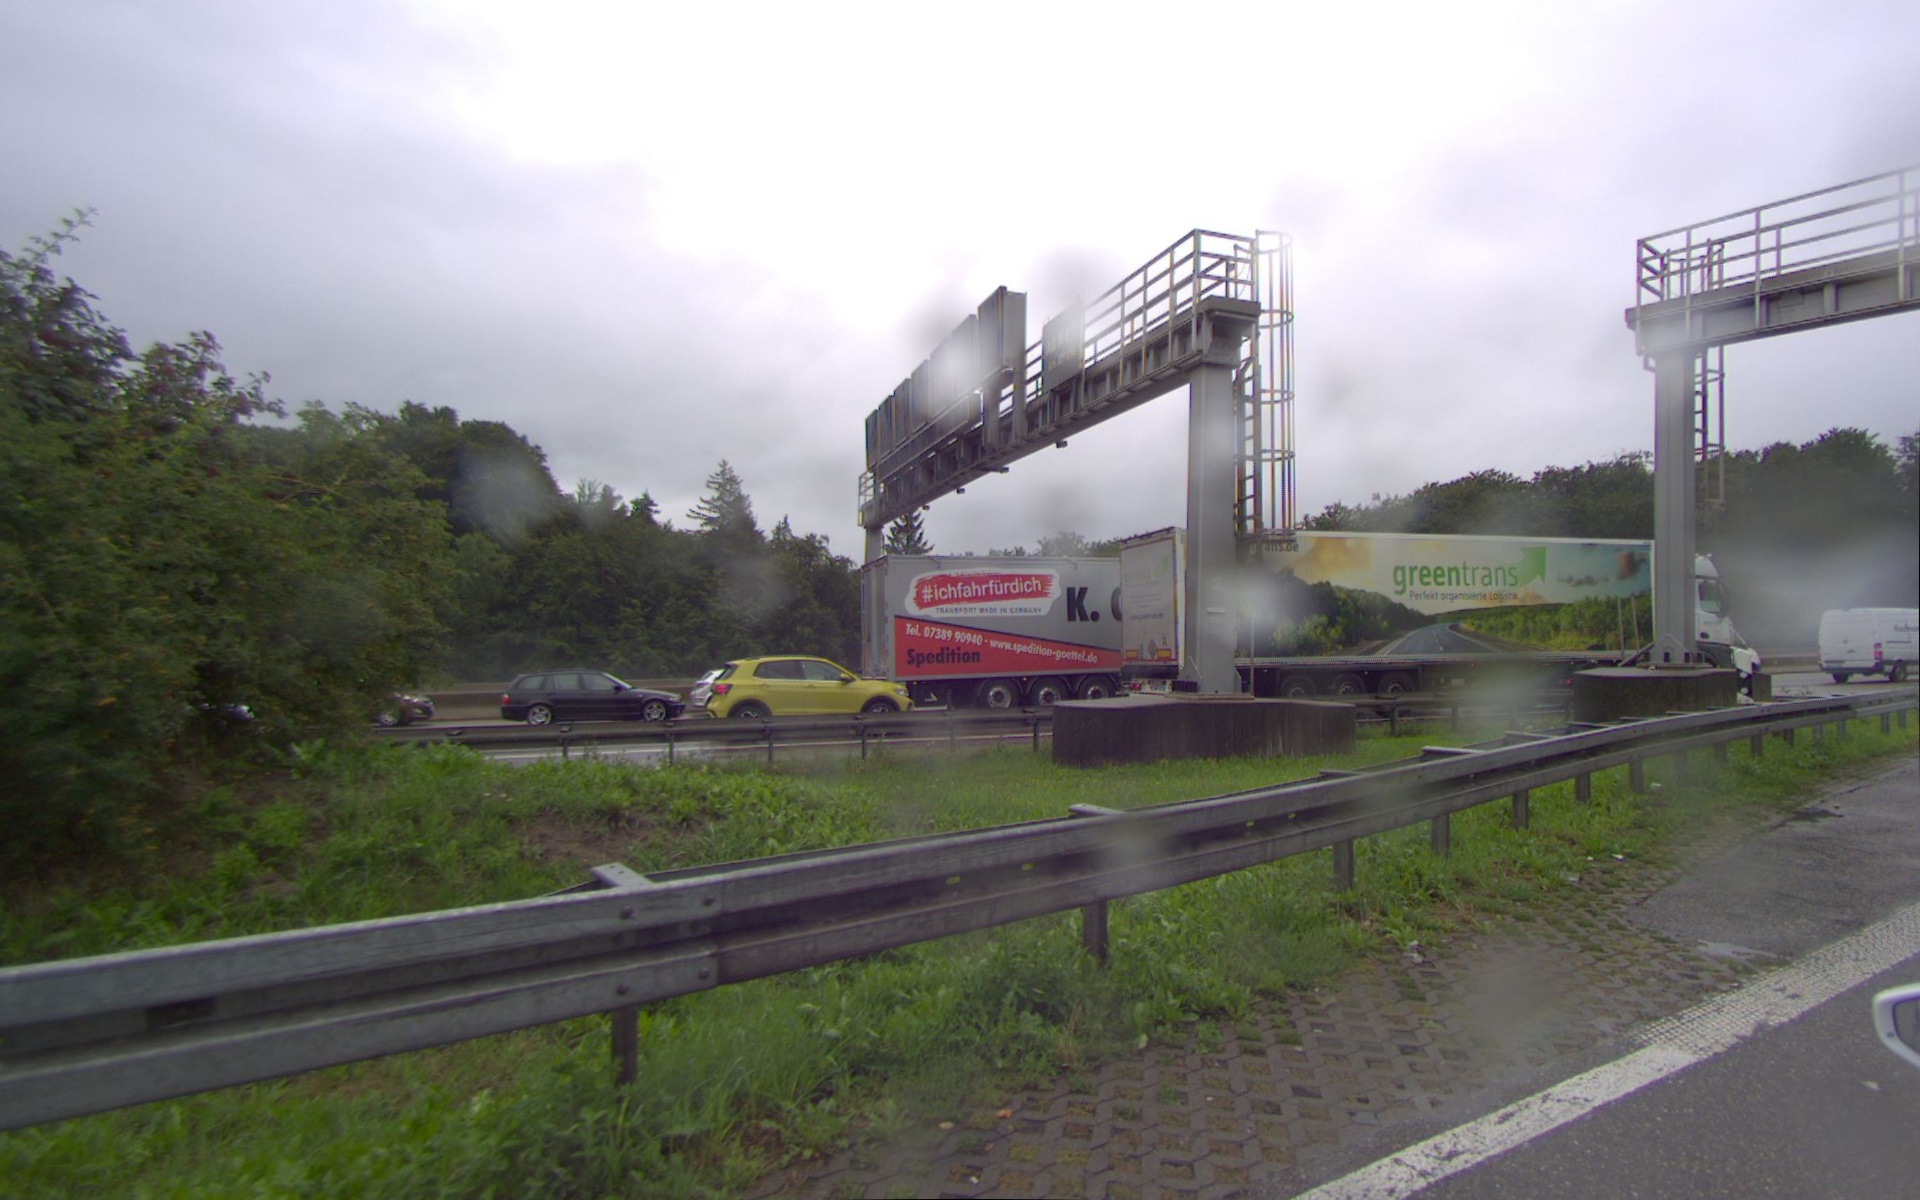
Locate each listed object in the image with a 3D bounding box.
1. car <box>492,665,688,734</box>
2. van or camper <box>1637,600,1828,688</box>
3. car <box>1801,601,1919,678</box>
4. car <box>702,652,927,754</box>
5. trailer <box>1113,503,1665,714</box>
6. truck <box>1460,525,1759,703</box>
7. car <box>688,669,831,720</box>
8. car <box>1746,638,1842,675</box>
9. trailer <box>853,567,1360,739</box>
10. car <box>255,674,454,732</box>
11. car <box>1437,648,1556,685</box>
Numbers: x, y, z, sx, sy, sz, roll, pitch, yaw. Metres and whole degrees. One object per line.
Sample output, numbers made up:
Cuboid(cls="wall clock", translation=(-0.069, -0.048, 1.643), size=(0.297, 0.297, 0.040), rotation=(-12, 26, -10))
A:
Cuboid(cls="car", translation=(-9.228, 2.457, 25.391), size=(4.468, 1.550, 1.993), rotation=(1, -3, -18))
Cuboid(cls="van or camper", translation=(30.488, 1.721, 39.638), size=(7.022, 3.246, 2.577), rotation=(0, -3, -20))
Cuboid(cls="car", translation=(34.336, 1.454, 37.198), size=(5.754, 2.664, 2.213), rotation=(0, -3, -20))
Cuboid(cls="car", translation=(-2.913, 1.962, 19.951), size=(4.174, 1.817, 1.792), rotation=(1, -2, -20))
Cuboid(cls="trailer", translation=(10.325, 0.302, 23.743), size=(13.421, 4.260, 2.917), rotation=(1, -3, -19))
Cuboid(cls="truck", translation=(16.692, 0.429, 25.907), size=(6.613, 4.152, 2.917), rotation=(1, -3, -18))
Cuboid(cls="car", translation=(-6.200, 2.886, 31.077), size=(4.162, 1.428, 1.804), rotation=(1, -3, -19))
Cuboid(cls="car", translation=(40.512, 2.731, 48.814), size=(3.938, 1.728, 1.775), rotation=(0, -3, -19))
Cuboid(cls="trailer", translation=(4.072, 1.281, 26.354), size=(13.464, 3.914, 2.625), rotation=(0, -3, -19))
Cuboid(cls="car", translation=(-16.359, 2.765, 27.376), size=(4.307, 1.413, 1.705), rotation=(1, -2, -18))
Cuboid(cls="car", translation=(23.001, 2.825, 43.053), size=(4.759, 1.443, 1.743), rotation=(0, -3, -19))
